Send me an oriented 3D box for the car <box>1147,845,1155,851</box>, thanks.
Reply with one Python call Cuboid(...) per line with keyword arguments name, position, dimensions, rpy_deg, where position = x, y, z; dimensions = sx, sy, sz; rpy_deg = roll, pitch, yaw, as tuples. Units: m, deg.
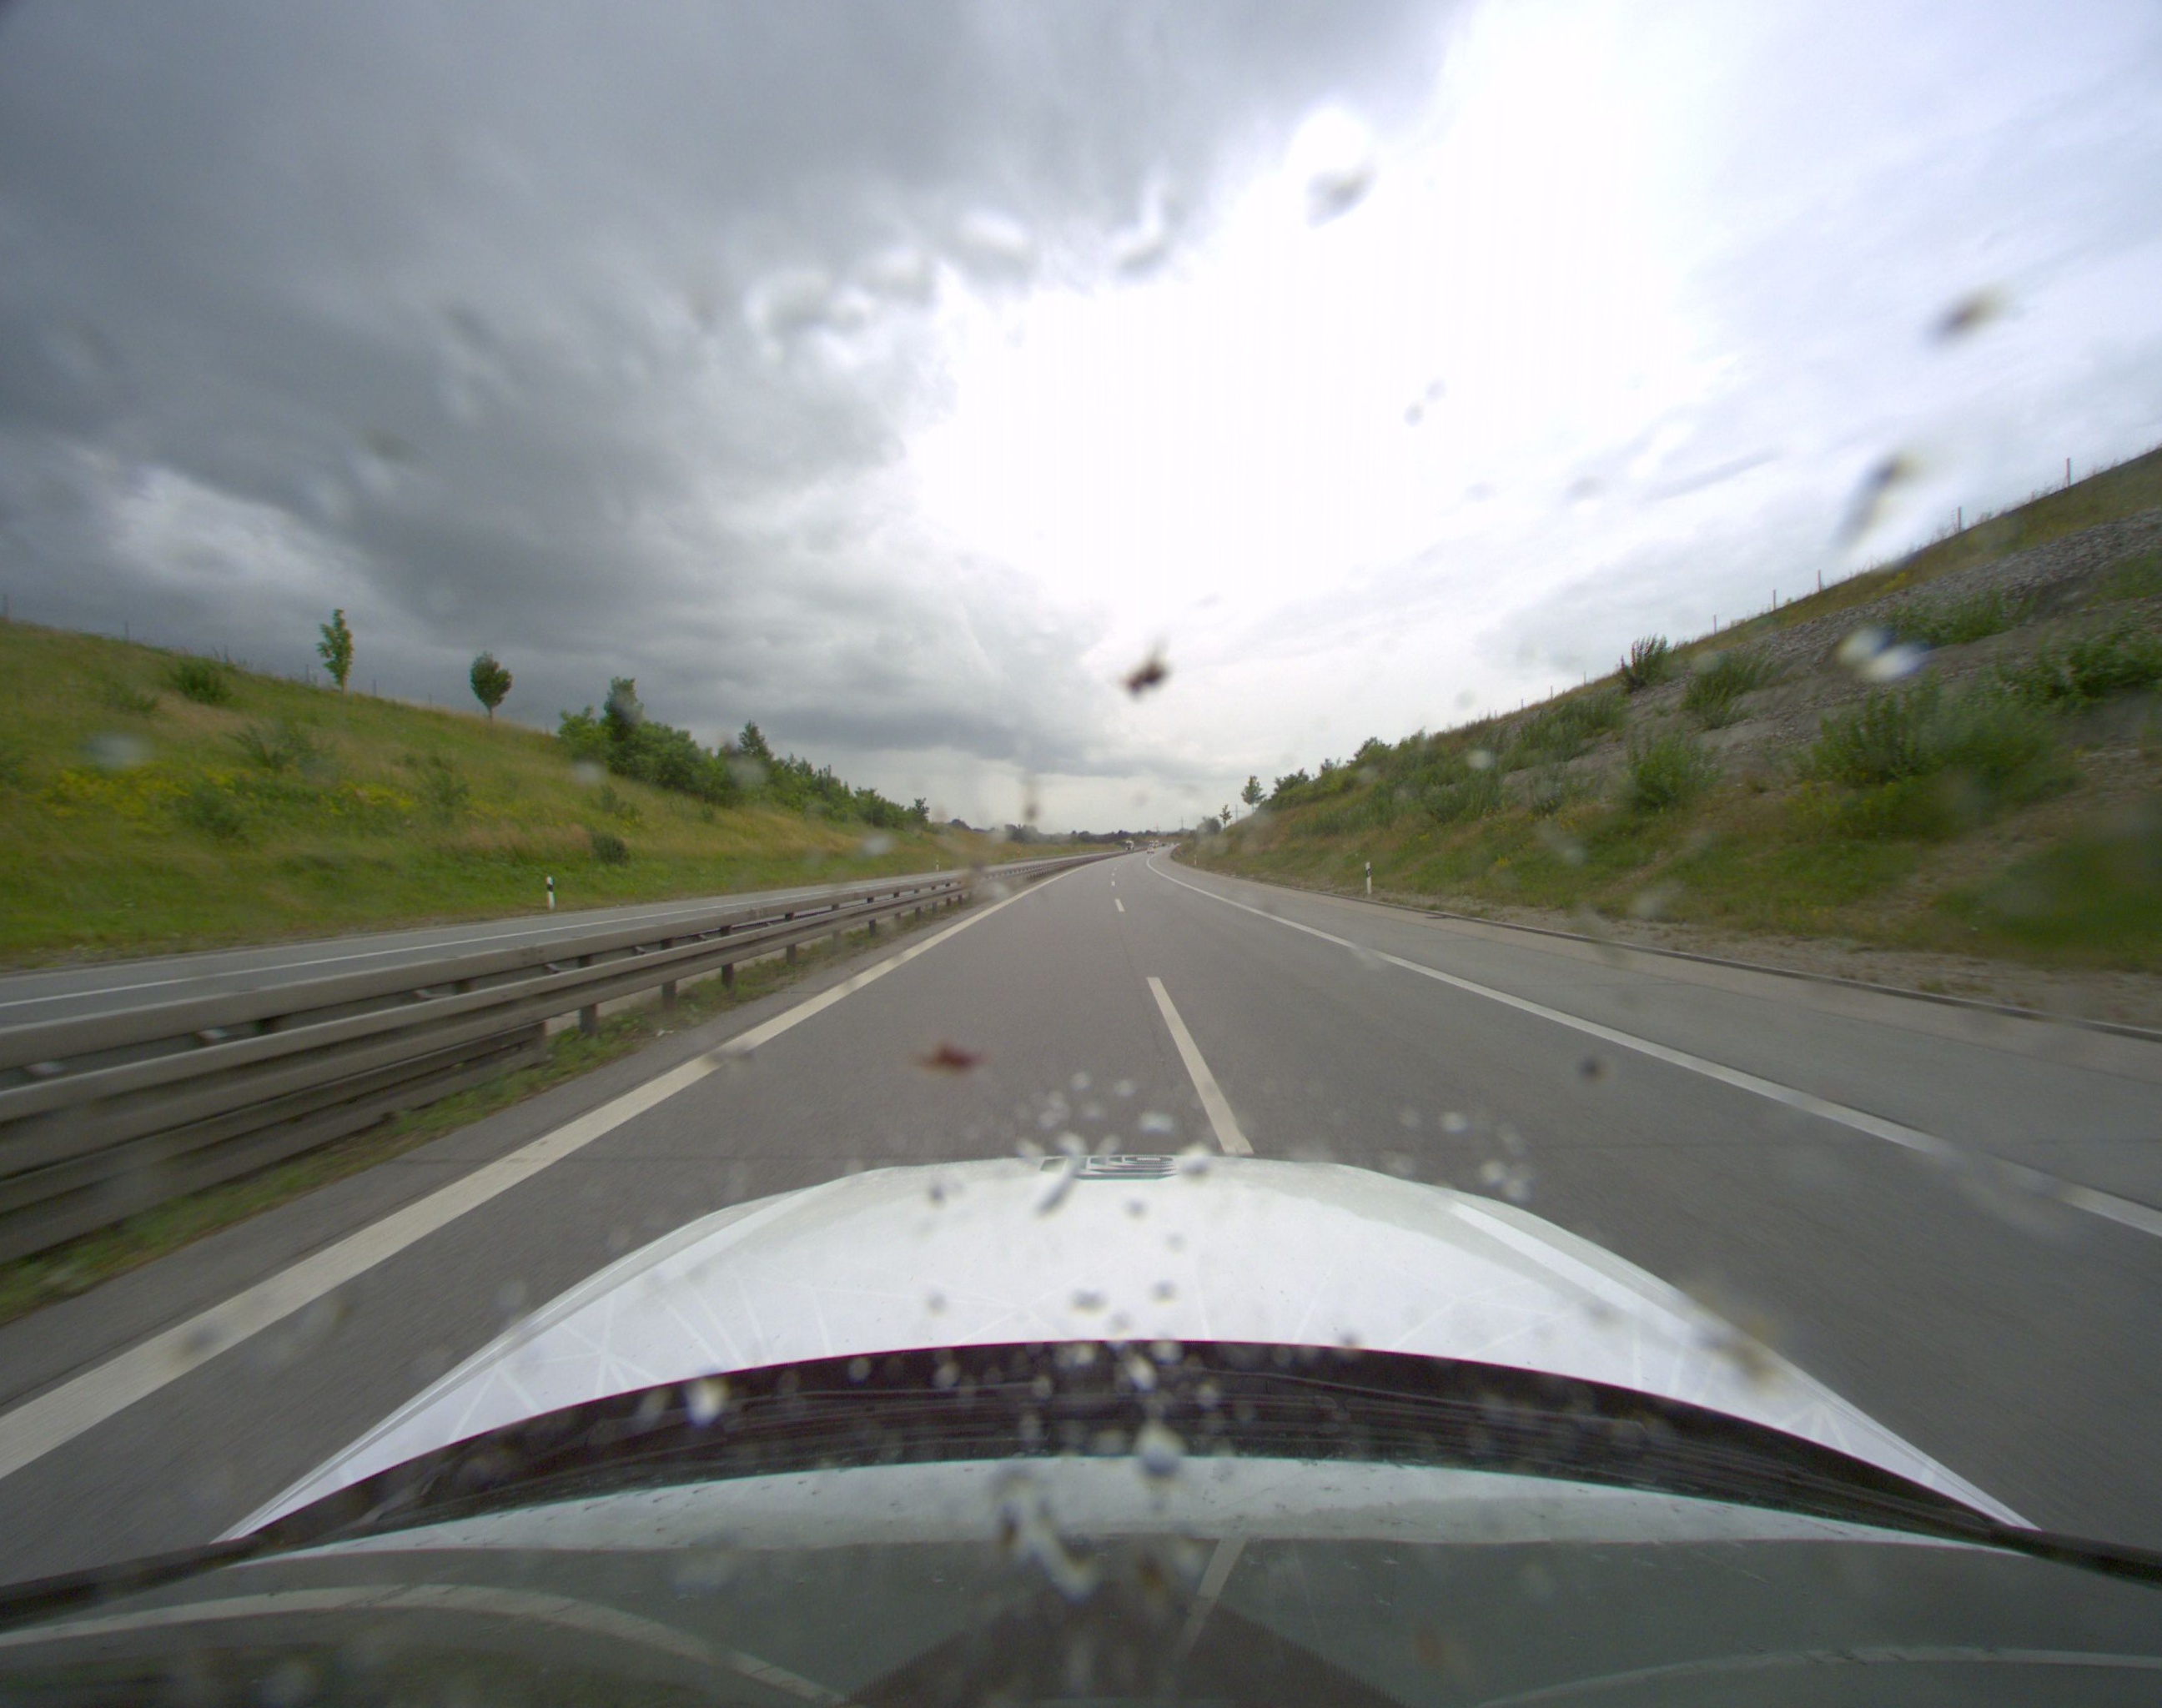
Cuboid(name="car", position=(19.973, -1.632, 232.398), dimensions=(1.946, 1.651, 4.008), rpy_deg=(-1, 0, 7))
